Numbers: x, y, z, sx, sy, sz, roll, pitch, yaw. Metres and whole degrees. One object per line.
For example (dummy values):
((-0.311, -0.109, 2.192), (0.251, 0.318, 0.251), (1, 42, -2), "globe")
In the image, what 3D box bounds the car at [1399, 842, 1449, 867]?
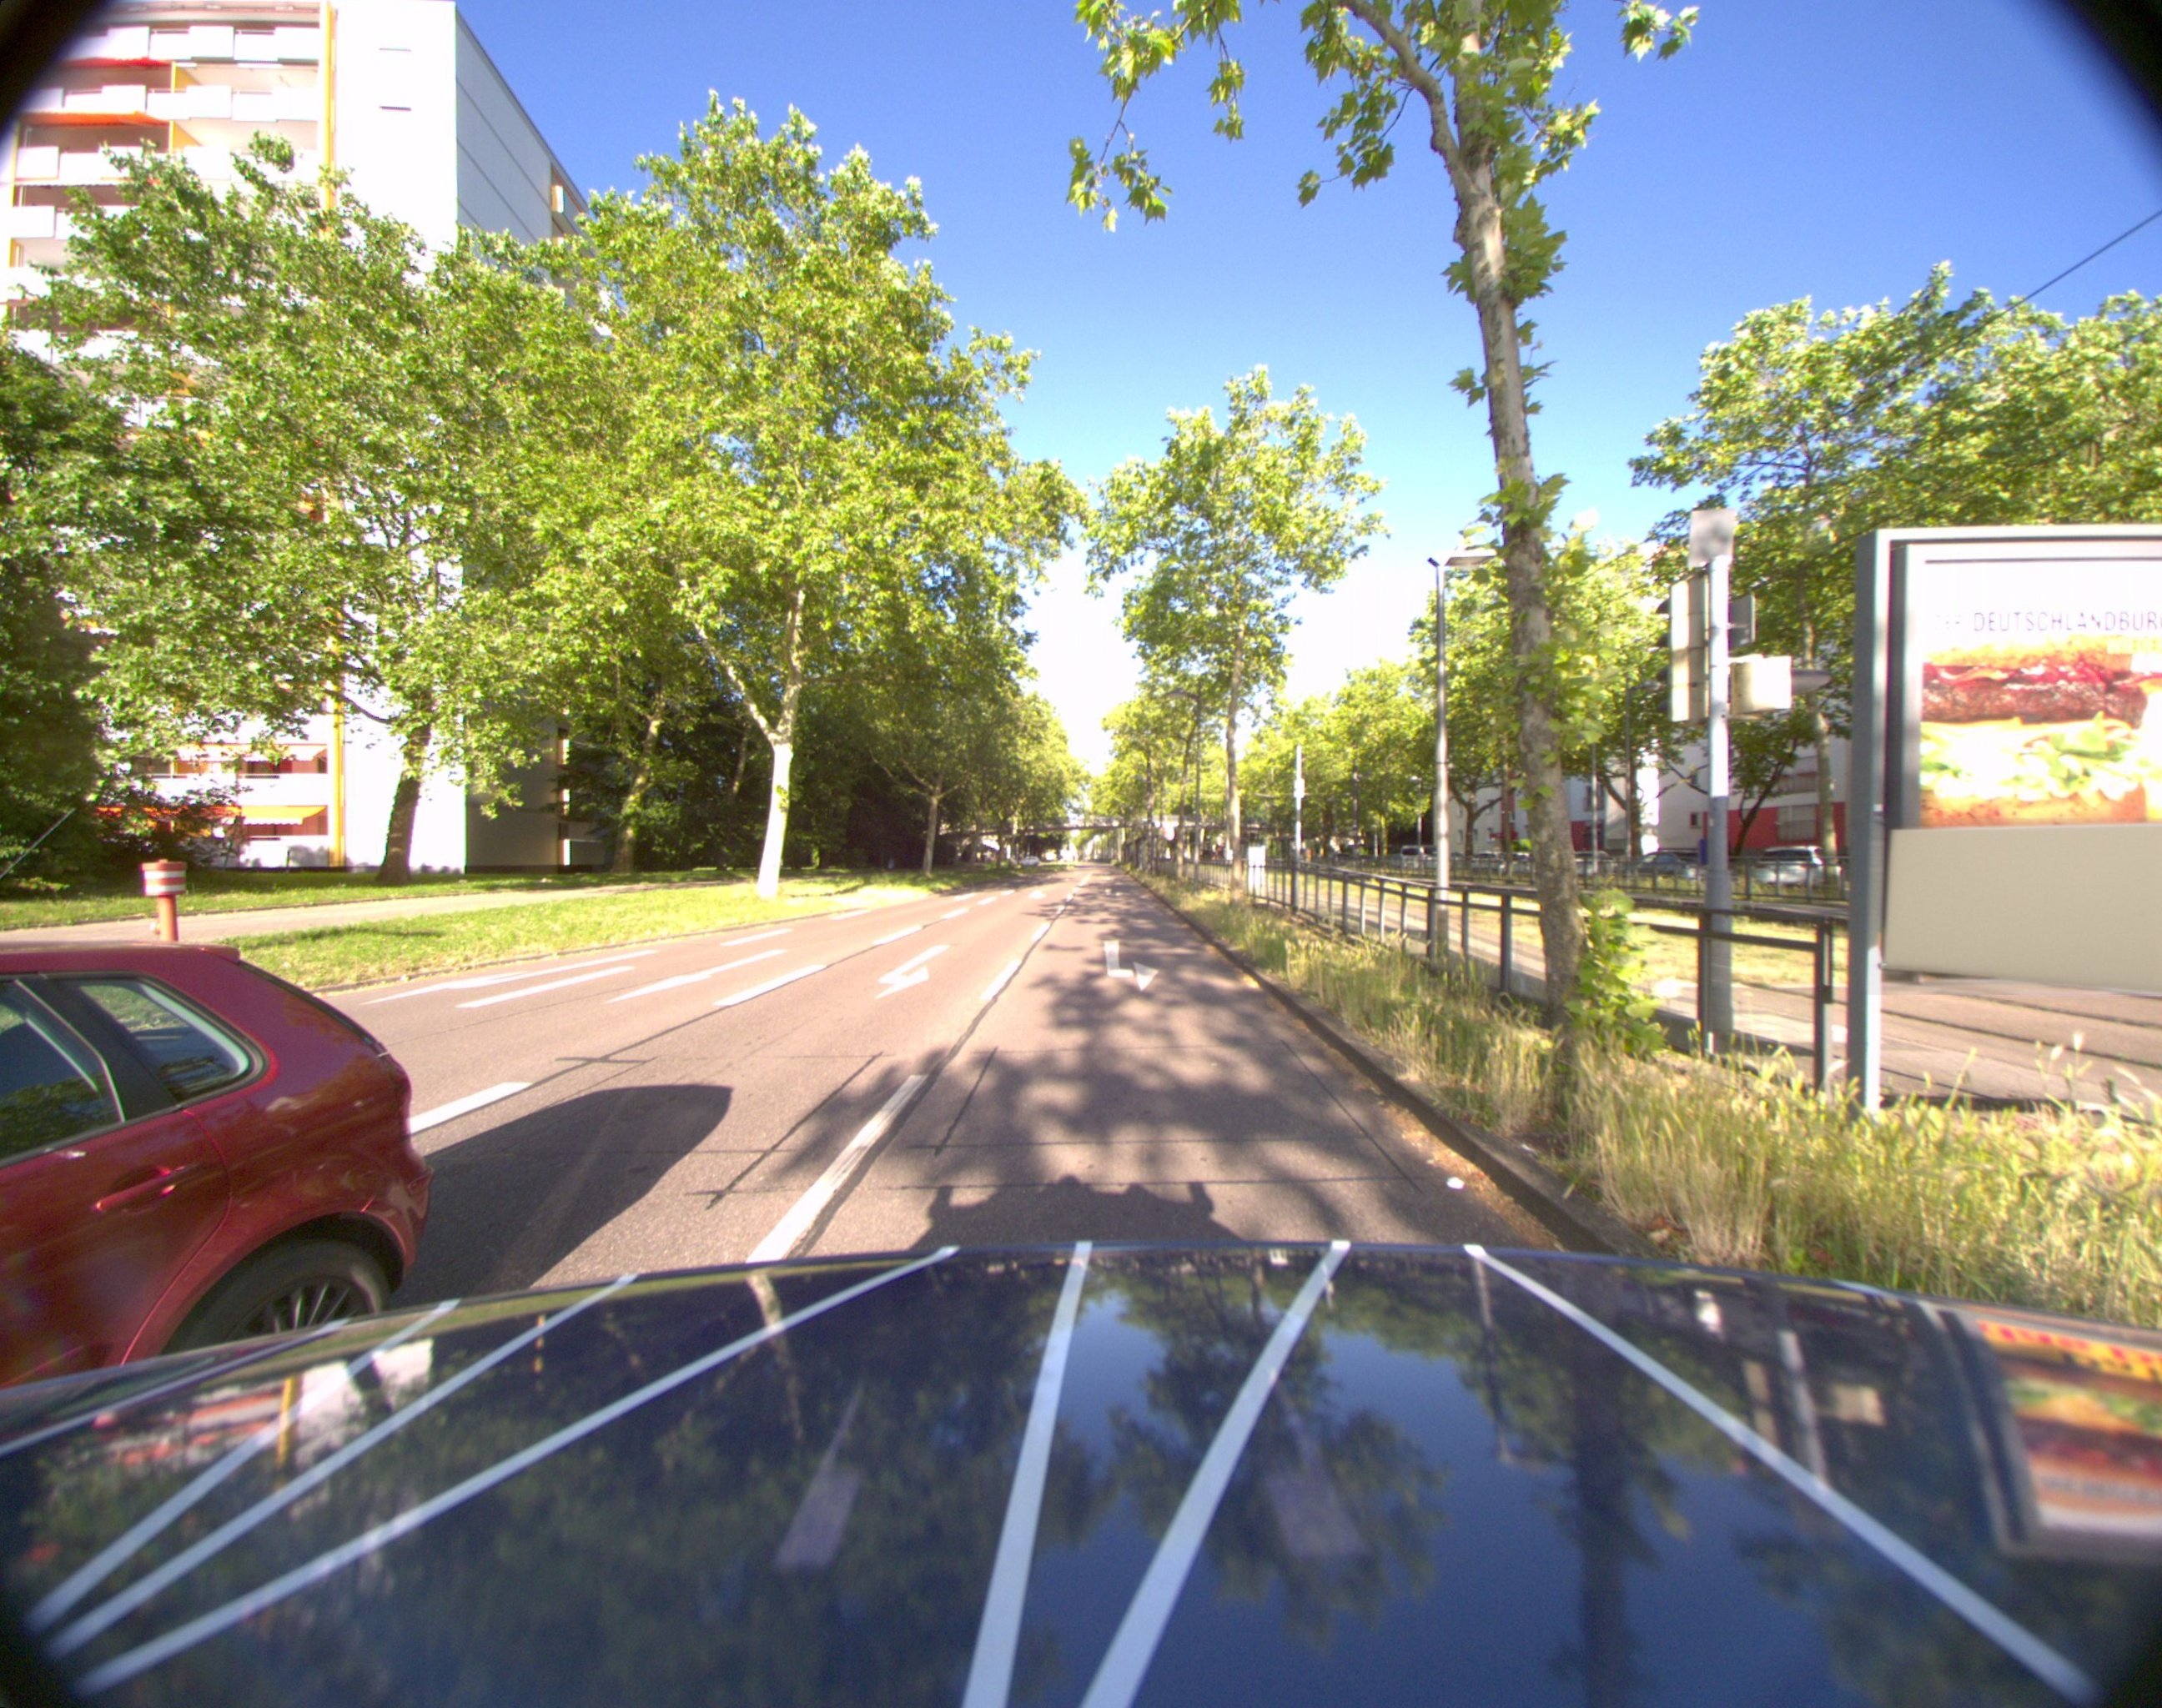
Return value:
((25.758, 0.015, 56.966), (4.056, 1.802, 1.864), (-1, 1, -40), "car")

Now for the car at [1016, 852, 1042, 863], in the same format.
((-8.350, 0.558, 121.801), (4.000, 1.465, 1.797), (-3, 1, -10), "car")

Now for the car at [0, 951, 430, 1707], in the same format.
((-2.950, 1.062, 0.508), (1.646, 1.430, 3.761), (-2, 1, 2), "car")

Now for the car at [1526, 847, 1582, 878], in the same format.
((25.817, 0.465, 41.435), (3.402, 1.499, 1.461), (-3, 1, -37), "car")

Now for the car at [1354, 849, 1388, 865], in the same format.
((26.527, 0.275, 69.492), (3.494, 1.312, 1.476), (-1, 1, -41), "car")

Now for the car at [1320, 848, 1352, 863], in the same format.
((26.699, 0.138, 79.425), (3.742, 1.517, 1.597), (-1, 1, -43), "car")

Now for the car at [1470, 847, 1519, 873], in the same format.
((25.814, 0.375, 47.400), (3.493, 1.417, 1.558), (-3, -1, -42), "car")

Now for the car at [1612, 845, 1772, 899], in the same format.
((19.165, 0.507, 24.128), (1.810, 1.514, 4.331), (-1, 0, 4), "car")

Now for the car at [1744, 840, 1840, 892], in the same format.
((25.218, 0.400, 26.920), (4.007, 1.586, 1.810), (-3, 1, -37), "car")

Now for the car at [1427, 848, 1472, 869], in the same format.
((26.158, 0.303, 53.906), (3.494, 1.395, 1.623), (-1, 1, -41), "car")

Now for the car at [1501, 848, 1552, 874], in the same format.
((26.197, 0.397, 44.630), (3.493, 1.321, 1.476), (-3, 0, -41), "car")

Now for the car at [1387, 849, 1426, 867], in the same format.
((25.879, 0.280, 60.354), (3.494, 1.336, 1.476), (-1, 1, -41), "car")

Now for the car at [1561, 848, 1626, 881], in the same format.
((25.514, 0.515, 37.759), (3.890, 1.406, 1.486), (-3, 1, -37), "car")

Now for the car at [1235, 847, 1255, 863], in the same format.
((21.563, 0.136, 100.271), (1.795, 1.980, 4.653), (-1, 0, 3), "car")

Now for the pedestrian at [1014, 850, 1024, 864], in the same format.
((-8.833, 0.451, 108.003), (0.964, 2.002, 0.917), (-4, 1, -41), "pedestrian")

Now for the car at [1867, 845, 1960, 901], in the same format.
((25.233, 0.538, 22.991), (3.770, 1.420, 1.555), (-3, 1, -37), "car")

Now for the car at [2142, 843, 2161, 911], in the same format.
((24.591, 0.533, 16.224), (4.007, 1.479, 1.689), (-3, 1, -44), "car")

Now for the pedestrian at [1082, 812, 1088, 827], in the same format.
((0.584, -4.719, 103.925), (0.738, 1.873, 0.511), (-3, 1, 0), "pedestrian")

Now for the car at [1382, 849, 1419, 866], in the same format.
((26.986, 0.293, 64.046), (3.494, 1.293, 1.476), (-1, 1, -41), "car")

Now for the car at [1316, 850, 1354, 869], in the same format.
((20.723, 0.431, 62.110), (1.769, 1.503, 4.102), (-1, 0, 1), "car")
